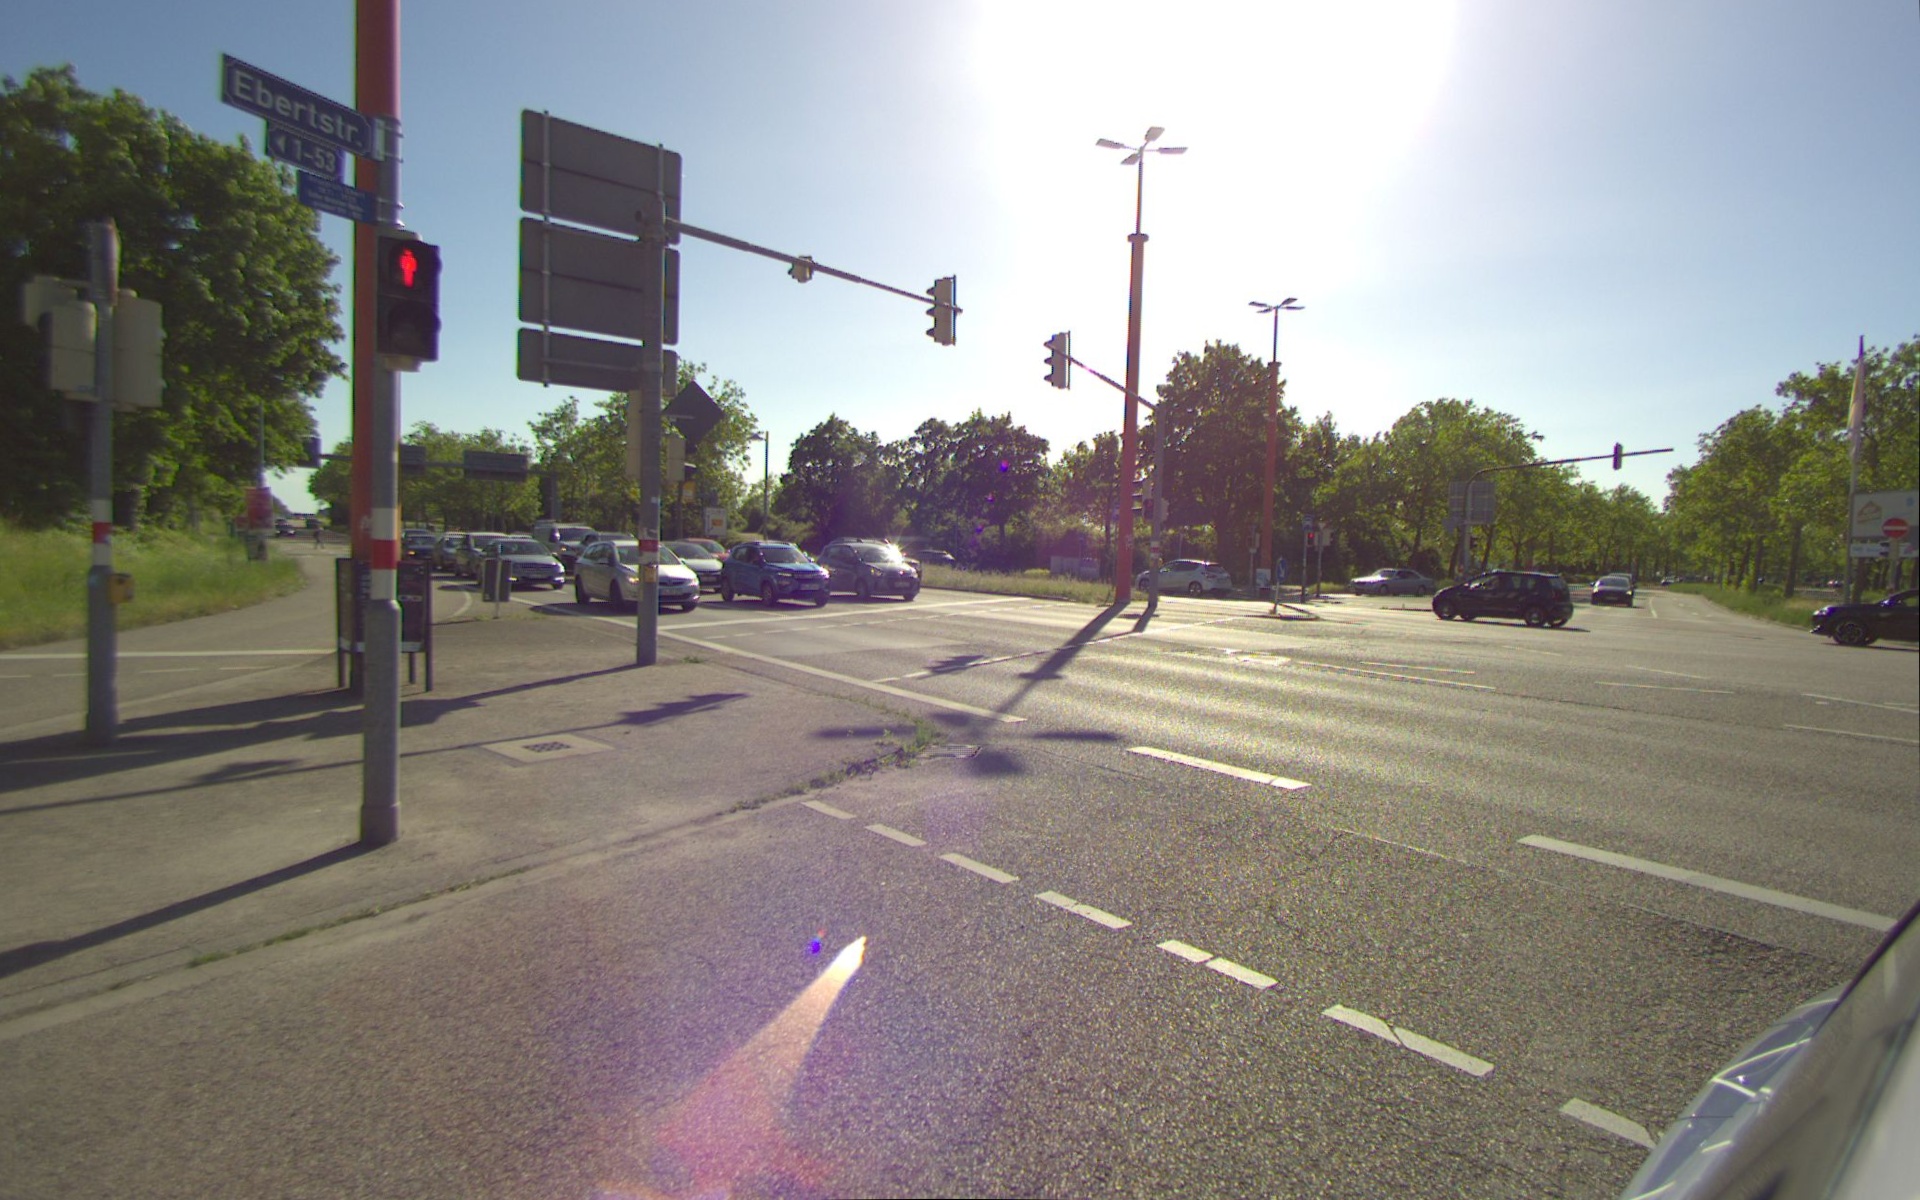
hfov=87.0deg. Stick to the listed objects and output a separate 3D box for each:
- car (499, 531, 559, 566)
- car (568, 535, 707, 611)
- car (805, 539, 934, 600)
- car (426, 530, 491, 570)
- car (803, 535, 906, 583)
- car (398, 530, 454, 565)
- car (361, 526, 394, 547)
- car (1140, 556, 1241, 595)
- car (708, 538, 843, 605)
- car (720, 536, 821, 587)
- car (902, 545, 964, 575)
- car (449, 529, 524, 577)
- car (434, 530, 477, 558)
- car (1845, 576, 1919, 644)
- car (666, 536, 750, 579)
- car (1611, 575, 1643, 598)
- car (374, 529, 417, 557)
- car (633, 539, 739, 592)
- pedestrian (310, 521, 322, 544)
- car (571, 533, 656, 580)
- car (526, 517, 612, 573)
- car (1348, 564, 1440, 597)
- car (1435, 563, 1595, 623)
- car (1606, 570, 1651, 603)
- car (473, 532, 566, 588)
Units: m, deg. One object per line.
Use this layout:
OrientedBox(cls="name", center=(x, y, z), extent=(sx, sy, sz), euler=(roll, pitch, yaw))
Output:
OrientedBox(cls="car", center=(-20.063, -2.395, 47.058), extent=(1.766, 1.528, 4.001), euler=(-1, 4, -35))
OrientedBox(cls="car", center=(-7.297, -0.669, 22.624), extent=(1.766, 1.499, 4.287), euler=(-1, 4, -35))
OrientedBox(cls="car", center=(-2.570, -0.890, 27.978), extent=(1.766, 1.499, 4.001), euler=(-1, 4, -35))
OrientedBox(cls="car", center=(-20.462, -2.060, 41.244), extent=(1.766, 1.528, 4.001), euler=(-1, 4, -35))
OrientedBox(cls="car", center=(-3.658, -1.435, 34.565), extent=(1.766, 1.528, 4.001), euler=(-1, 4, -35))
OrientedBox(cls="car", center=(-24.697, -2.462, 46.714), extent=(1.766, 1.528, 4.001), euler=(-1, 4, -35))
OrientedBox(cls="car", center=(-43.372, -4.736, 75.347), extent=(1.766, 1.528, 4.001), euler=(-1, 4, -35))
OrientedBox(cls="car", center=(9.426, -1.030, 41.643), extent=(1.584, 1.432, 3.866), euler=(1, 3, -38))
OrientedBox(cls="car", center=(-4.663, -0.767, 25.099), extent=(1.766, 1.499, 4.001), euler=(-1, 4, -35))
OrientedBox(cls="car", center=(-6.314, -1.302, 33.418), extent=(1.766, 1.528, 4.001), euler=(-1, 4, -35))
OrientedBox(cls="car", center=(-1.559, -2.233, 56.474), extent=(1.585, 1.524, 3.536), euler=(1, 3, -39))
OrientedBox(cls="car", center=(-16.952, -1.709, 36.149), extent=(1.766, 1.604, 4.001), euler=(-1, 4, -35))
OrientedBox(cls="car", center=(-29.786, -3.316, 59.691), extent=(1.765, 1.528, 4.003), euler=(-1, 4, -34))
OrientedBox(cls="car", center=(23.537, 0.299, 24.043), extent=(1.585, 1.524, 3.536), euler=(1, 3, -39))
OrientedBox(cls="car", center=(-9.564, -1.637, 38.239), extent=(1.766, 1.499, 4.001), euler=(-1, 4, -35))
OrientedBox(cls="car", center=(47.480, -1.006, 72.045), extent=(1.788, 1.528, 3.952), euler=(4, 3, 34))
OrientedBox(cls="car", center=(-32.441, -3.277, 58.116), extent=(1.766, 1.528, 4.001), euler=(-1, 4, -35))
OrientedBox(cls="car", center=(-8.165, -1.071, 29.934), extent=(1.766, 1.408, 4.001), euler=(-1, 4, -35))
OrientedBox(cls="pedestrian", center=(-47.506, -4.974, 74.640), extent=(0.639, 1.681, 0.649), euler=(0, 3, -41))
OrientedBox(cls="car", center=(-12.159, -1.536, 35.357), extent=(1.766, 1.524, 4.001), euler=(-1, 4, -35))
OrientedBox(cls="car", center=(-15.944, -2.251, 41.087), extent=(2.053, 2.112, 5.196), euler=(-1, 4, -35))
OrientedBox(cls="car", center=(22.299, -1.019, 51.972), extent=(4.543, 1.528, 1.804), euler=(1, 3, -26))
OrientedBox(cls="car", center=(15.412, -0.220, 28.223), extent=(1.584, 1.447, 3.536), euler=(1, 3, -39))
OrientedBox(cls="car", center=(33.647, -0.699, 50.925), extent=(1.788, 1.528, 3.952), euler=(4, 3, 34))
OrientedBox(cls="car", center=(-13.092, -1.220, 29.956), extent=(1.766, 1.528, 4.001), euler=(-1, 4, -35))
